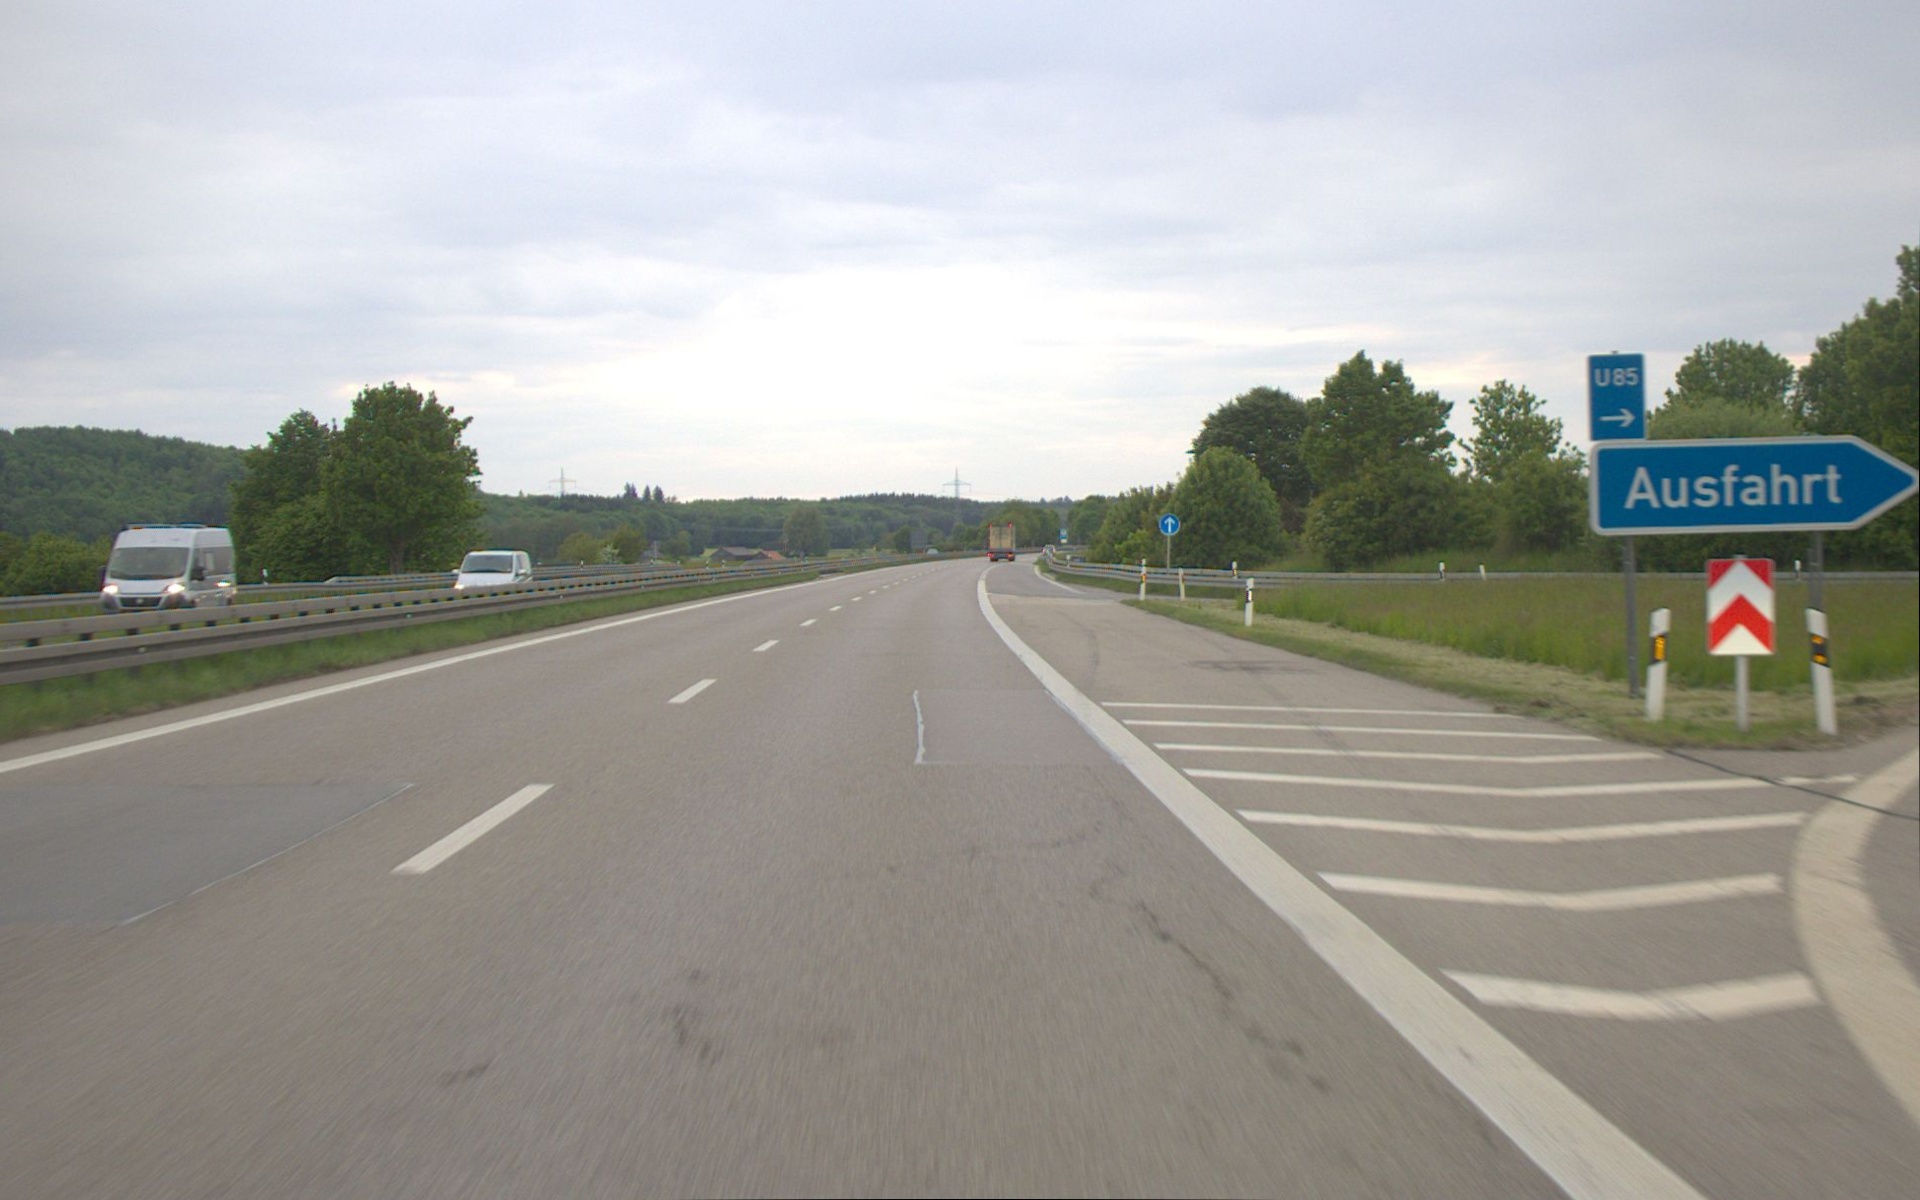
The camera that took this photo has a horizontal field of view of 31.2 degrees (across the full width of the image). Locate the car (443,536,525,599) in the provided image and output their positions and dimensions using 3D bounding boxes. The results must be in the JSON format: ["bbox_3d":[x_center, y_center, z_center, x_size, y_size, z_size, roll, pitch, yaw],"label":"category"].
[{"bbox_3d":[-14.633,-1.023,105.899,1.906,1.884,5.072,0,1,-1],"label":"car"}]

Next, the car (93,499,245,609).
[{"bbox_3d":[-18.610,-1.093,81.187,2.145,2.474,6.589,0,1,-1],"label":"car"}]
